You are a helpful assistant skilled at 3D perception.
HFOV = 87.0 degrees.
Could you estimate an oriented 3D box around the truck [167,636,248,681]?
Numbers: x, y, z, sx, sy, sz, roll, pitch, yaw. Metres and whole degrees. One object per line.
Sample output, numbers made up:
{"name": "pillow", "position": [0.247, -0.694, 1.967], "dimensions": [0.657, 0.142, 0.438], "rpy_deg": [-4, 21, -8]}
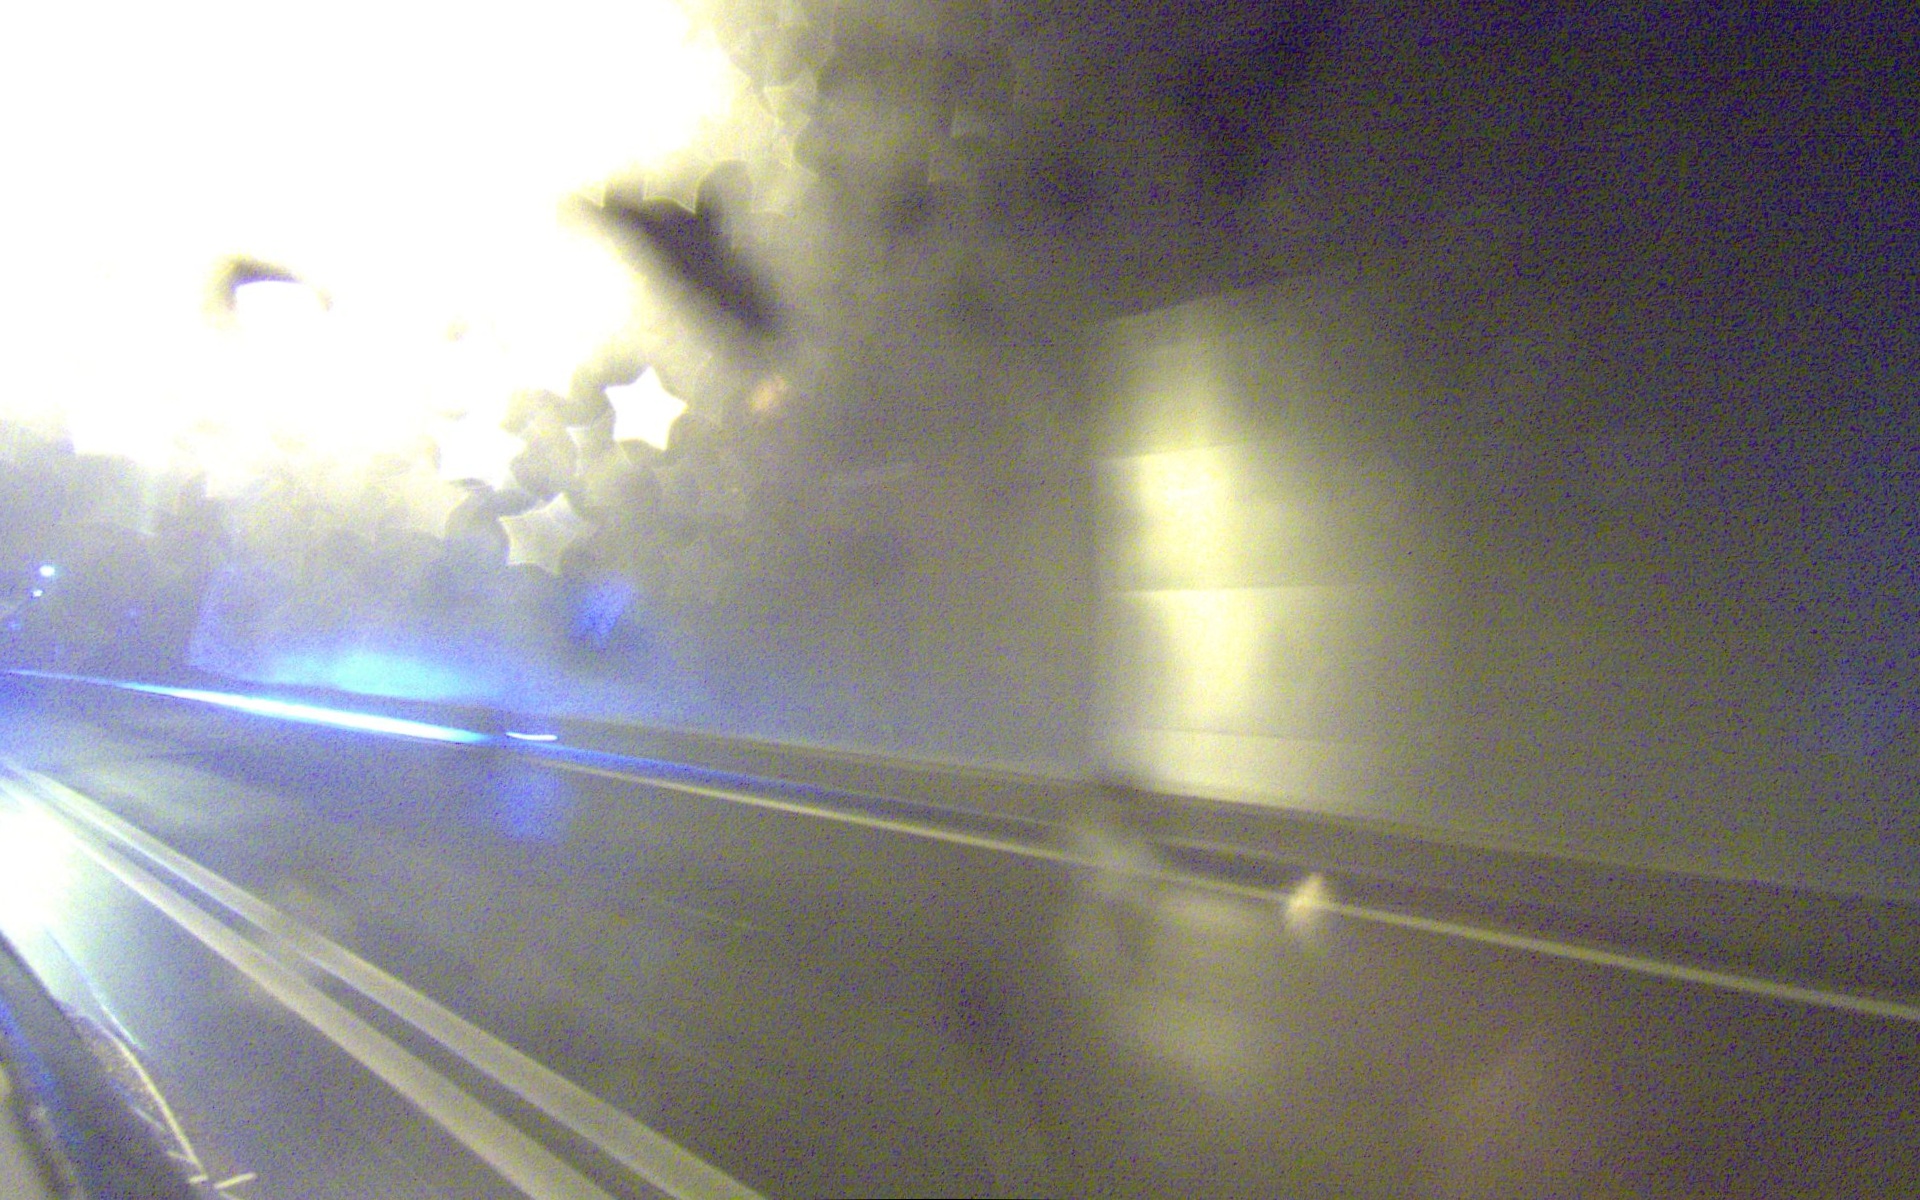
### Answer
{"name": "truck", "position": [-65.137, 5.047, 87.556], "dimensions": [7.014, 3.506, 2.452], "rpy_deg": [0, -5, 26]}
